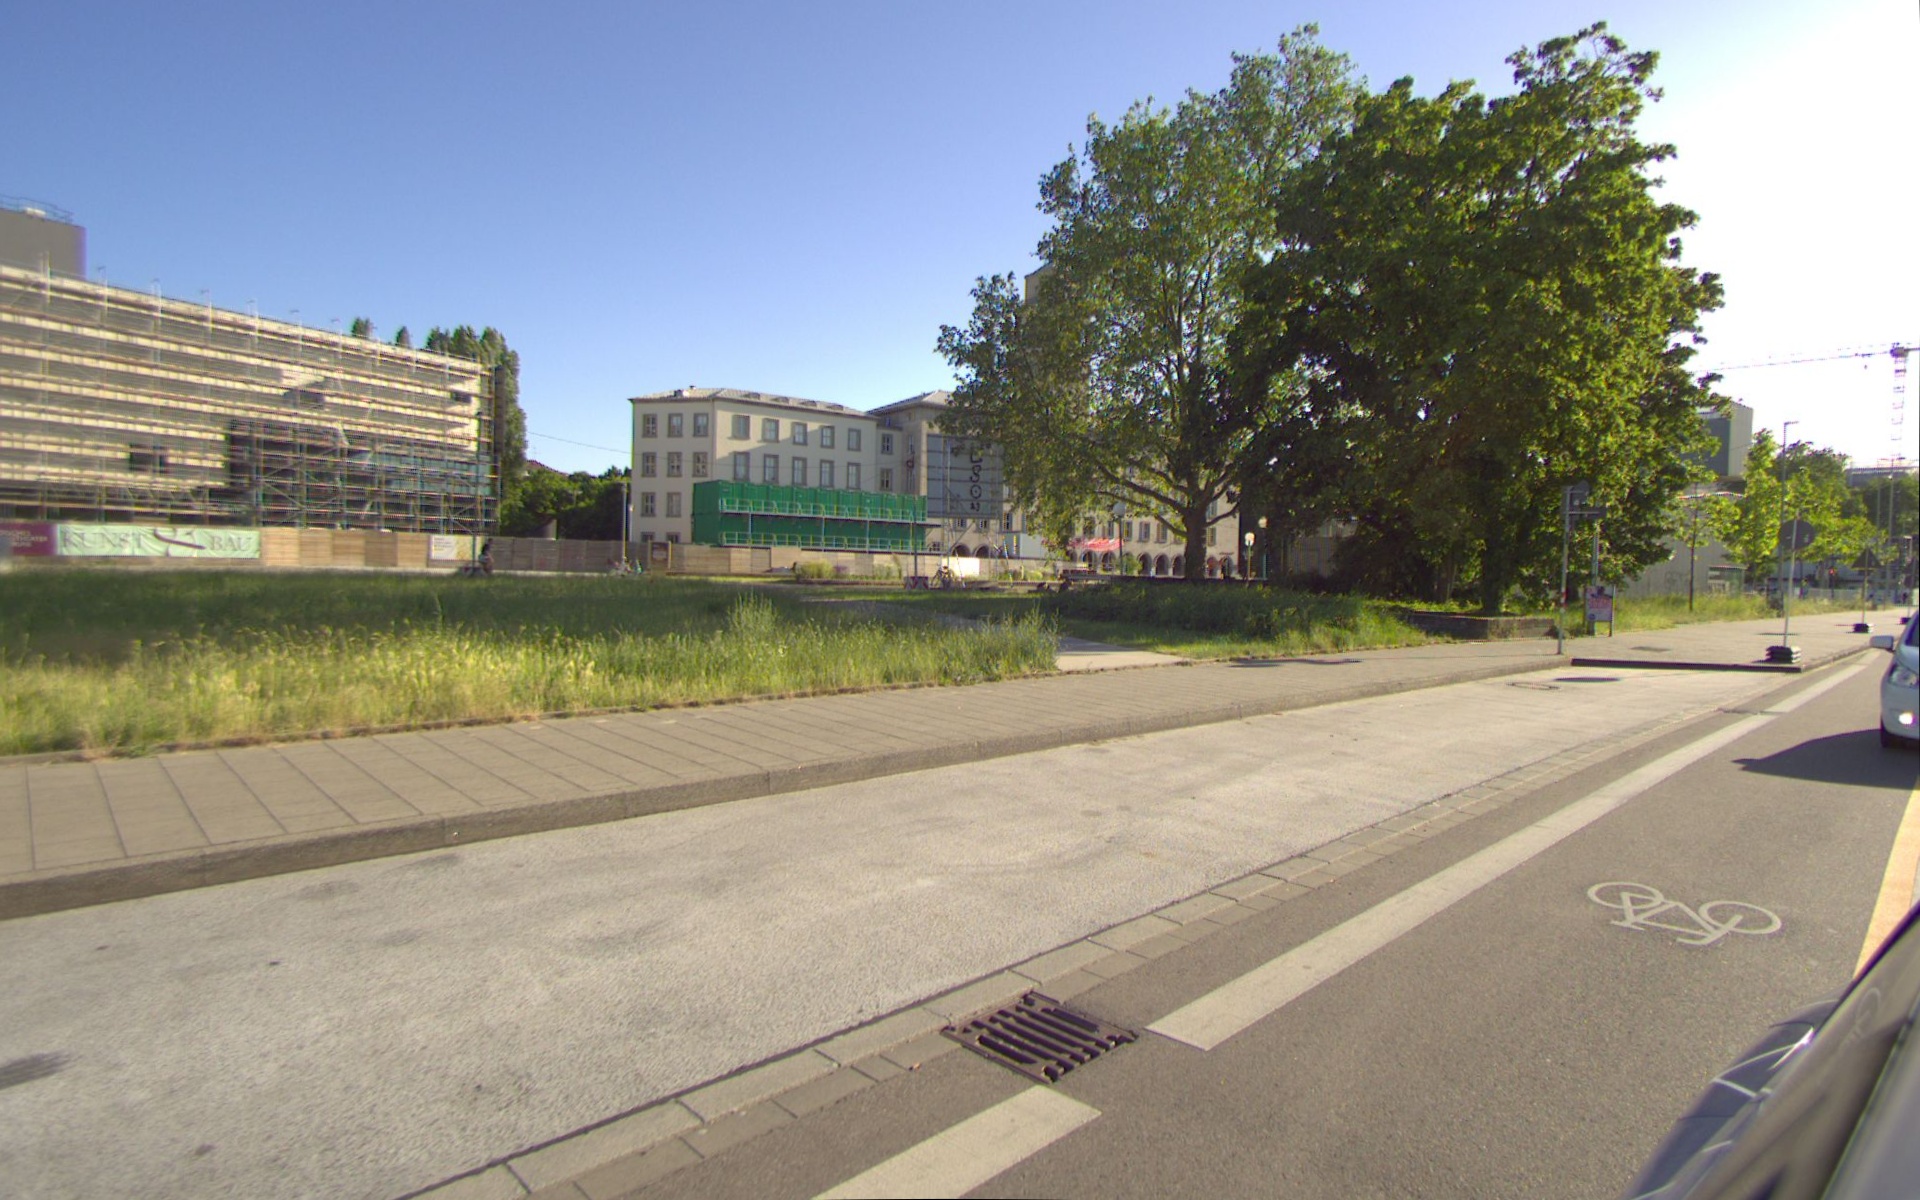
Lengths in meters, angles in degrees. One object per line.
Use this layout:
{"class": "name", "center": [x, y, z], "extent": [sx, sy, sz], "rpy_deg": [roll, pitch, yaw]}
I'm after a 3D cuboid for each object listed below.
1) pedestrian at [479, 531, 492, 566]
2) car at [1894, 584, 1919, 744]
{"class": "pedestrian", "center": [-18.099, -1.946, 38.593], "extent": [0.432, 1.312, 0.574], "rpy_deg": [-2, 1, -26]}
{"class": "car", "center": [10.737, 0.593, 10.307], "extent": [3.339, 1.516, 1.611], "rpy_deg": [-1, 0, -44]}
